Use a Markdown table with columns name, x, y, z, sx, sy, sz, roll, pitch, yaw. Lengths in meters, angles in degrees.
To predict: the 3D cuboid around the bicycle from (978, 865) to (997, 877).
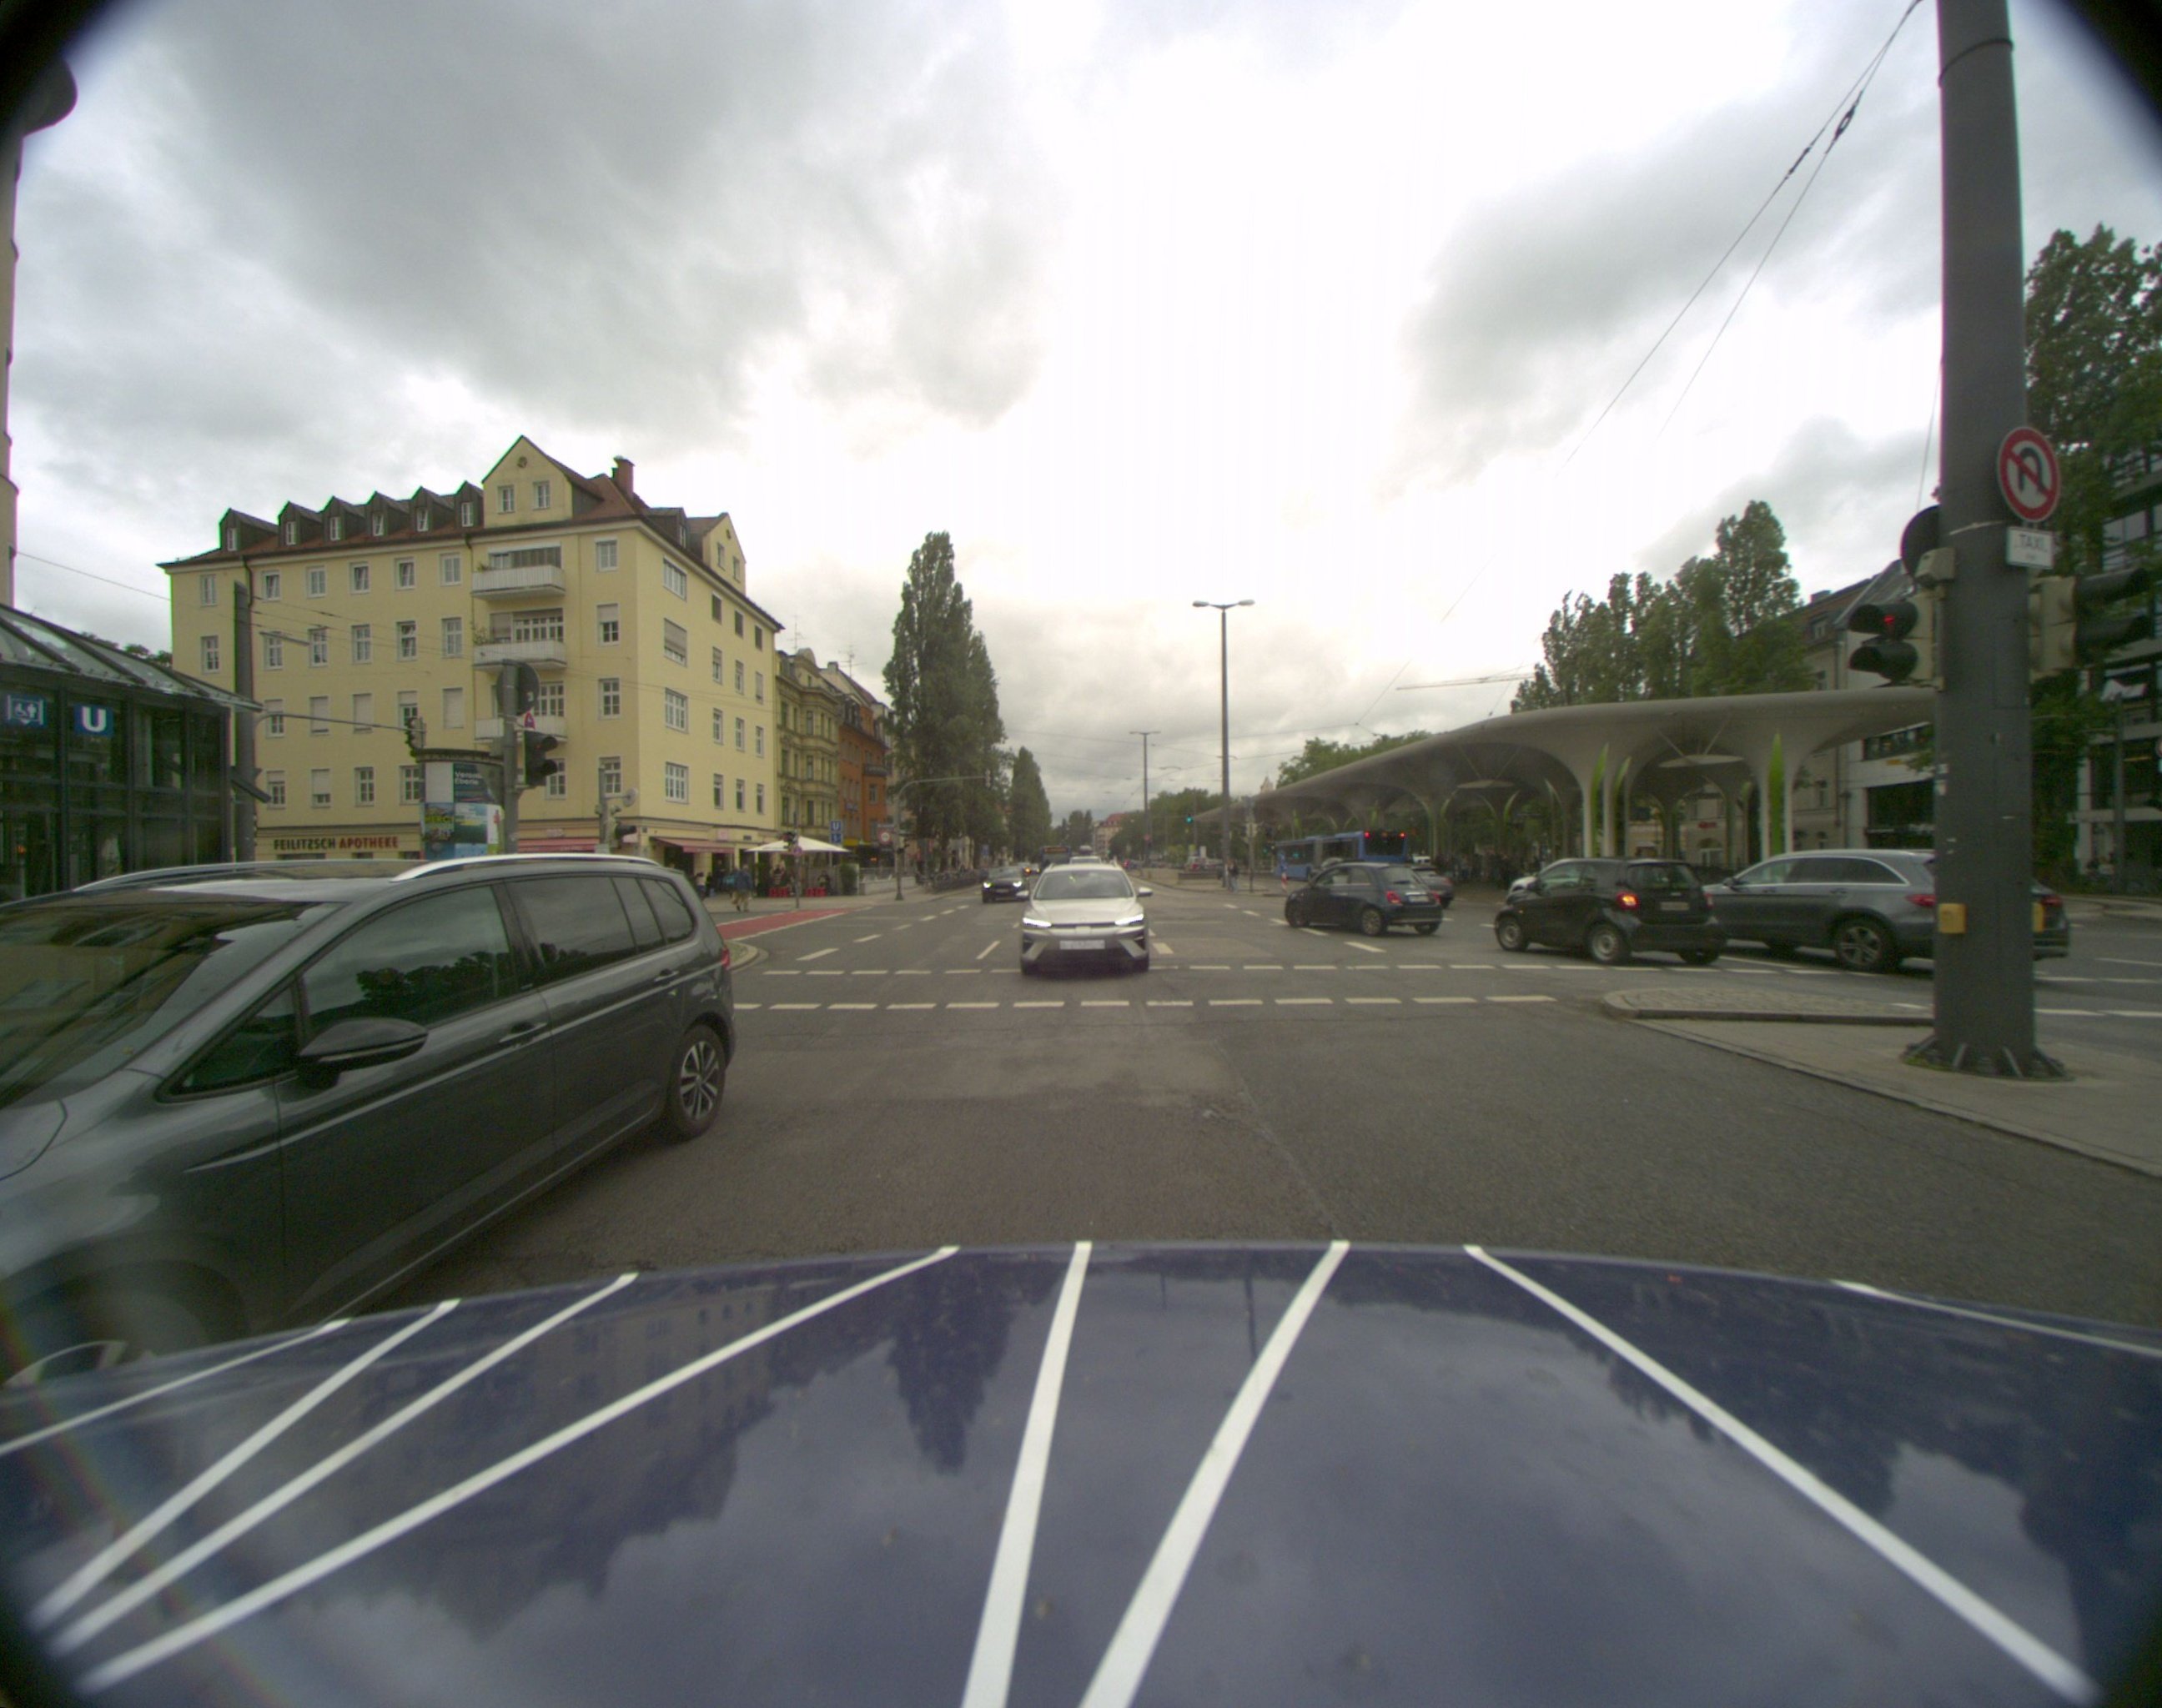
| name | x | y | z | sx | sy | sz | roll | pitch | yaw |
| --- | --- | --- | --- | --- | --- | --- | --- | --- | --- |
| bicycle | -8.157 | 1.486 | 66.206 | 1.837 | 0.989 | 0.376 | -3 | -1 | 38 |

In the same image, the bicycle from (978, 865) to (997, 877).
| name | x | y | z | sx | sy | sz | roll | pitch | yaw |
| --- | --- | --- | --- | --- | --- | --- | --- | --- | --- |
| bicycle | -8.050 | 1.478 | 65.569 | 1.837 | 0.989 | 0.376 | -3 | -1 | 38 |

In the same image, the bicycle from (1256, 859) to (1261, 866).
| name | x | y | z | sx | sy | sz | roll | pitch | yaw |
| --- | --- | --- | --- | --- | --- | --- | --- | --- | --- |
| bicycle | 23.537 | 1.170 | 100.526 | 0.479 | 0.889 | 1.850 | -1 | 0 | 8 |

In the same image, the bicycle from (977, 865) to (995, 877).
| name | x | y | z | sx | sy | sz | roll | pitch | yaw |
| --- | --- | --- | --- | --- | --- | --- | --- | --- | --- |
| bicycle | -8.110 | 1.479 | 64.822 | 1.837 | 0.989 | 0.376 | -3 | -1 | 38 |

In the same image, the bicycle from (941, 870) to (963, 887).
| name | x | y | z | sx | sy | sz | roll | pitch | yaw |
| --- | --- | --- | --- | --- | --- | --- | --- | --- | --- |
| bicycle | -8.045 | 1.539 | 47.299 | 1.836 | 0.990 | 0.349 | 0 | 1 | 44 |

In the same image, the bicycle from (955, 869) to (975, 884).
| name | x | y | z | sx | sy | sz | roll | pitch | yaw |
| --- | --- | --- | --- | --- | --- | --- | --- | --- | --- |
| bicycle | -7.988 | 1.554 | 52.185 | 1.837 | 0.990 | 0.349 | 0 | 1 | 44 |

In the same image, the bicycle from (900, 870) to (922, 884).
| name | x | y | z | sx | sy | sz | roll | pitch | yaw |
| --- | --- | --- | --- | --- | --- | --- | --- | --- | --- |
| bicycle | -13.841 | 1.855 | 61.760 | 1.725 | 1.039 | 0.388 | -2 | -1 | 11 |

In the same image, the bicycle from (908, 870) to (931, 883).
| name | x | y | z | sx | sy | sz | roll | pitch | yaw |
| --- | --- | --- | --- | --- | --- | --- | --- | --- | --- |
| bicycle | -12.926 | 1.805 | 60.898 | 1.728 | 1.039 | 0.387 | -2 | -1 | -6 |

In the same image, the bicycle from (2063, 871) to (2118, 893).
| name | x | y | z | sx | sy | sz | roll | pitch | yaw |
| --- | --- | --- | --- | --- | --- | --- | --- | --- | --- |
| bicycle | 43.294 | 1.195 | 32.593 | 1.827 | 0.921 | 0.450 | -1 | 0 | -2 |

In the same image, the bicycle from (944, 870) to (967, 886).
| name | x | y | z | sx | sy | sz | roll | pitch | yaw |
| --- | --- | --- | --- | --- | --- | --- | --- | --- | --- |
| bicycle | -8.044 | 1.543 | 48.652 | 1.836 | 0.990 | 0.349 | 0 | 1 | 40 |

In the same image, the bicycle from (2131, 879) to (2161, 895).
| name | x | y | z | sx | sy | sz | roll | pitch | yaw |
| --- | --- | --- | --- | --- | --- | --- | --- | --- | --- |
| bicycle | 42.216 | 1.284 | 29.639 | 1.631 | 0.629 | 0.363 | -1 | 0 | 15 |

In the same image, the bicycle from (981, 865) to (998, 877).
| name | x | y | z | sx | sy | sz | roll | pitch | yaw |
| --- | --- | --- | --- | --- | --- | --- | --- | --- | --- |
| bicycle | -8.182 | 1.516 | 68.120 | 1.837 | 0.989 | 0.376 | -3 | -1 | 42 |

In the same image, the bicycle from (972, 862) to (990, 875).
| name | x | y | z | sx | sy | sz | roll | pitch | yaw |
| --- | --- | --- | --- | --- | --- | --- | --- | --- | --- |
| bicycle | -8.161 | 1.202 | 61.907 | 1.837 | 0.989 | 0.326 | -3 | -1 | 43 |

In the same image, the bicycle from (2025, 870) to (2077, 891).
| name | x | y | z | sx | sy | sz | roll | pitch | yaw |
| --- | --- | --- | --- | --- | --- | --- | --- | --- | --- |
| bicycle | 43.407 | 1.193 | 34.012 | 1.827 | 0.921 | 0.450 | -1 | 0 | -2 |

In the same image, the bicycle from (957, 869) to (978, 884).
| name | x | y | z | sx | sy | sz | roll | pitch | yaw |
| --- | --- | --- | --- | --- | --- | --- | --- | --- | --- |
| bicycle | -8.023 | 1.560 | 53.592 | 1.836 | 0.990 | 0.349 | 0 | 1 | 40 |

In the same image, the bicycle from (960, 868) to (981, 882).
| name | x | y | z | sx | sy | sz | roll | pitch | yaw |
| --- | --- | --- | --- | --- | --- | --- | --- | --- | --- |
| bicycle | -8.217 | 1.579 | 56.488 | 1.837 | 0.989 | 0.326 | -3 | -1 | 40 |

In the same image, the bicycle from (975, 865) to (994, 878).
| name | x | y | z | sx | sy | sz | roll | pitch | yaw |
| --- | --- | --- | --- | --- | --- | --- | --- | --- | --- |
| bicycle | -8.040 | 1.471 | 63.410 | 1.837 | 0.989 | 0.326 | -3 | -1 | 38 |

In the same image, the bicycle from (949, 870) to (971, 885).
| name | x | y | z | sx | sy | sz | roll | pitch | yaw |
| --- | --- | --- | --- | --- | --- | --- | --- | --- | --- |
| bicycle | -8.099 | 1.552 | 50.798 | 1.836 | 0.990 | 0.349 | 0 | 1 | 40 |

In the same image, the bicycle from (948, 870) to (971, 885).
| name | x | y | z | sx | sy | sz | roll | pitch | yaw |
| --- | --- | --- | --- | --- | --- | --- | --- | --- | --- |
| bicycle | -8.005 | 1.545 | 49.990 | 1.836 | 0.990 | 0.349 | 0 | 1 | 40 |

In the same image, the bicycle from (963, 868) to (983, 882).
| name | x | y | z | sx | sy | sz | roll | pitch | yaw |
| --- | --- | --- | --- | --- | --- | --- | --- | --- | --- |
| bicycle | -8.100 | 1.575 | 57.064 | 1.837 | 0.989 | 0.326 | -3 | -1 | 40 |

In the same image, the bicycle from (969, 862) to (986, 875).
| name | x | y | z | sx | sy | sz | roll | pitch | yaw |
| --- | --- | --- | --- | --- | --- | --- | --- | --- | --- |
| bicycle | -8.386 | 1.212 | 61.575 | 0.326 | 0.989 | 1.837 | -1 | -2 | -42 |

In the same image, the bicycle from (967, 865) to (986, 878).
| name | x | y | z | sx | sy | sz | roll | pitch | yaw |
| --- | --- | --- | --- | --- | --- | --- | --- | --- | --- |
| bicycle | -8.211 | 1.369 | 59.783 | 1.837 | 0.989 | 0.326 | -3 | -1 | 43 |

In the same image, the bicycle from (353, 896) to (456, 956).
| name | x | y | z | sx | sy | sz | roll | pitch | yaw |
| --- | --- | --- | --- | --- | --- | --- | --- | --- | --- |
| bicycle | -13.257 | 1.400 | 14.902 | 1.572 | 1.153 | 0.525 | 0 | -1 | 3 |

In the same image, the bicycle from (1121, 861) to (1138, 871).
| name | x | y | z | sx | sy | sz | roll | pitch | yaw |
| --- | --- | --- | --- | --- | --- | --- | --- | --- | --- |
| bicycle | 6.115 | 1.487 | 95.996 | 2.234 | 1.143 | 0.505 | -2 | 1 | -28 |

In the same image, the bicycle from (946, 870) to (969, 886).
| name | x | y | z | sx | sy | sz | roll | pitch | yaw |
| --- | --- | --- | --- | --- | --- | --- | --- | --- | --- |
| bicycle | -8.021 | 1.543 | 49.317 | 1.836 | 0.990 | 0.349 | 0 | 1 | 40 |

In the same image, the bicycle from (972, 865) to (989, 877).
| name | x | y | z | sx | sy | sz | roll | pitch | yaw |
| --- | --- | --- | --- | --- | --- | --- | --- | --- | --- |
| bicycle | -8.077 | 1.366 | 60.877 | 0.326 | 0.989 | 1.837 | -1 | -2 | -43 |

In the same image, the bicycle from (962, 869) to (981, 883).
| name | x | y | z | sx | sy | sz | roll | pitch | yaw |
| --- | --- | --- | --- | --- | --- | --- | --- | --- | --- |
| bicycle | -7.949 | 1.561 | 55.031 | 1.837 | 0.990 | 0.326 | 0 | 0 | 45 |

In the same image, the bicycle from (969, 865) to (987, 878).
| name | x | y | z | sx | sy | sz | roll | pitch | yaw |
| --- | --- | --- | --- | --- | --- | --- | --- | --- | --- |
| bicycle | -8.189 | 1.370 | 60.436 | 1.837 | 0.989 | 0.326 | -3 | -1 | 43 |

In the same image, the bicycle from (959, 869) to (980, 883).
| name | x | y | z | sx | sy | sz | roll | pitch | yaw |
| --- | --- | --- | --- | --- | --- | --- | --- | --- | --- |
| bicycle | -7.996 | 1.561 | 54.257 | 1.836 | 0.990 | 0.349 | 0 | 1 | 40 |

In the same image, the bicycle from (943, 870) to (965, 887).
| name | x | y | z | sx | sy | sz | roll | pitch | yaw |
| --- | --- | --- | --- | --- | --- | --- | --- | --- | --- |
| bicycle | -8.042 | 1.540 | 47.965 | 1.836 | 0.990 | 0.349 | 0 | 1 | 44 |

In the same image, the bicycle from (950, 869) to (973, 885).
| name | x | y | z | sx | sy | sz | roll | pitch | yaw |
| --- | --- | --- | --- | --- | --- | --- | --- | --- | --- |
| bicycle | -8.098 | 1.554 | 51.453 | 1.836 | 0.990 | 0.349 | 0 | 1 | 40 |

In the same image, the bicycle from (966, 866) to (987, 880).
| name | x | y | z | sx | sy | sz | roll | pitch | yaw |
| --- | --- | --- | --- | --- | --- | --- | --- | --- | --- |
| bicycle | -8.011 | 1.452 | 58.197 | 1.837 | 0.989 | 0.326 | -3 | -1 | 37 |

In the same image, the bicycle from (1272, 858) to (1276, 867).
| name | x | y | z | sx | sy | sz | roll | pitch | yaw |
| --- | --- | --- | --- | --- | --- | --- | --- | --- | --- |
| bicycle | 25.406 | 1.086 | 100.191 | 0.479 | 1.090 | 1.851 | -1 | 0 | 14 |

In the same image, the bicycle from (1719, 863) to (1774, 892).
| name | x | y | z | sx | sy | sz | roll | pitch | yaw |
| --- | --- | --- | --- | --- | --- | --- | --- | --- | --- |
| bicycle | 27.349 | 0.954 | 31.272 | 0.654 | 1.111 | 2.184 | -1 | 0 | 10 |

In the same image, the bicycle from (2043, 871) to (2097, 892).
| name | x | y | z | sx | sy | sz | roll | pitch | yaw |
| --- | --- | --- | --- | --- | --- | --- | --- | --- | --- |
| bicycle | 43.252 | 1.199 | 33.225 | 1.827 | 0.921 | 0.450 | -1 | 0 | -2 |

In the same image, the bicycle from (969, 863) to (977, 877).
| name | x | y | z | sx | sy | sz | roll | pitch | yaw |
| --- | --- | --- | --- | --- | --- | --- | --- | --- | --- |
| bicycle | -9.817 | 1.460 | 68.877 | 0.424 | 1.280 | 1.778 | -1 | 0 | 1 |

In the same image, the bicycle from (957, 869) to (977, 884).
| name | x | y | z | sx | sy | sz | roll | pitch | yaw |
| --- | --- | --- | --- | --- | --- | --- | --- | --- | --- |
| bicycle | -7.957 | 1.555 | 52.902 | 1.837 | 0.990 | 0.349 | 0 | 1 | 44 |

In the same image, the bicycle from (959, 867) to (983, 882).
| name | x | y | z | sx | sy | sz | roll | pitch | yaw |
| --- | --- | --- | --- | --- | --- | --- | --- | --- | --- |
| bicycle | -8.076 | 1.501 | 55.734 | 1.837 | 1.106 | 0.468 | -1 | 0 | 33 |

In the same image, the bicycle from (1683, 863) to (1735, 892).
| name | x | y | z | sx | sy | sz | roll | pitch | yaw |
| --- | --- | --- | --- | --- | --- | --- | --- | --- | --- |
| bicycle | 25.984 | 0.963 | 31.480 | 0.642 | 1.118 | 2.167 | -1 | 0 | 10 |

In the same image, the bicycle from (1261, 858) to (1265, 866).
| name | x | y | z | sx | sy | sz | roll | pitch | yaw |
| --- | --- | --- | --- | --- | --- | --- | --- | --- | --- |
| bicycle | 24.079 | 1.070 | 100.414 | 0.479 | 1.090 | 1.851 | -1 | 0 | 11 |
